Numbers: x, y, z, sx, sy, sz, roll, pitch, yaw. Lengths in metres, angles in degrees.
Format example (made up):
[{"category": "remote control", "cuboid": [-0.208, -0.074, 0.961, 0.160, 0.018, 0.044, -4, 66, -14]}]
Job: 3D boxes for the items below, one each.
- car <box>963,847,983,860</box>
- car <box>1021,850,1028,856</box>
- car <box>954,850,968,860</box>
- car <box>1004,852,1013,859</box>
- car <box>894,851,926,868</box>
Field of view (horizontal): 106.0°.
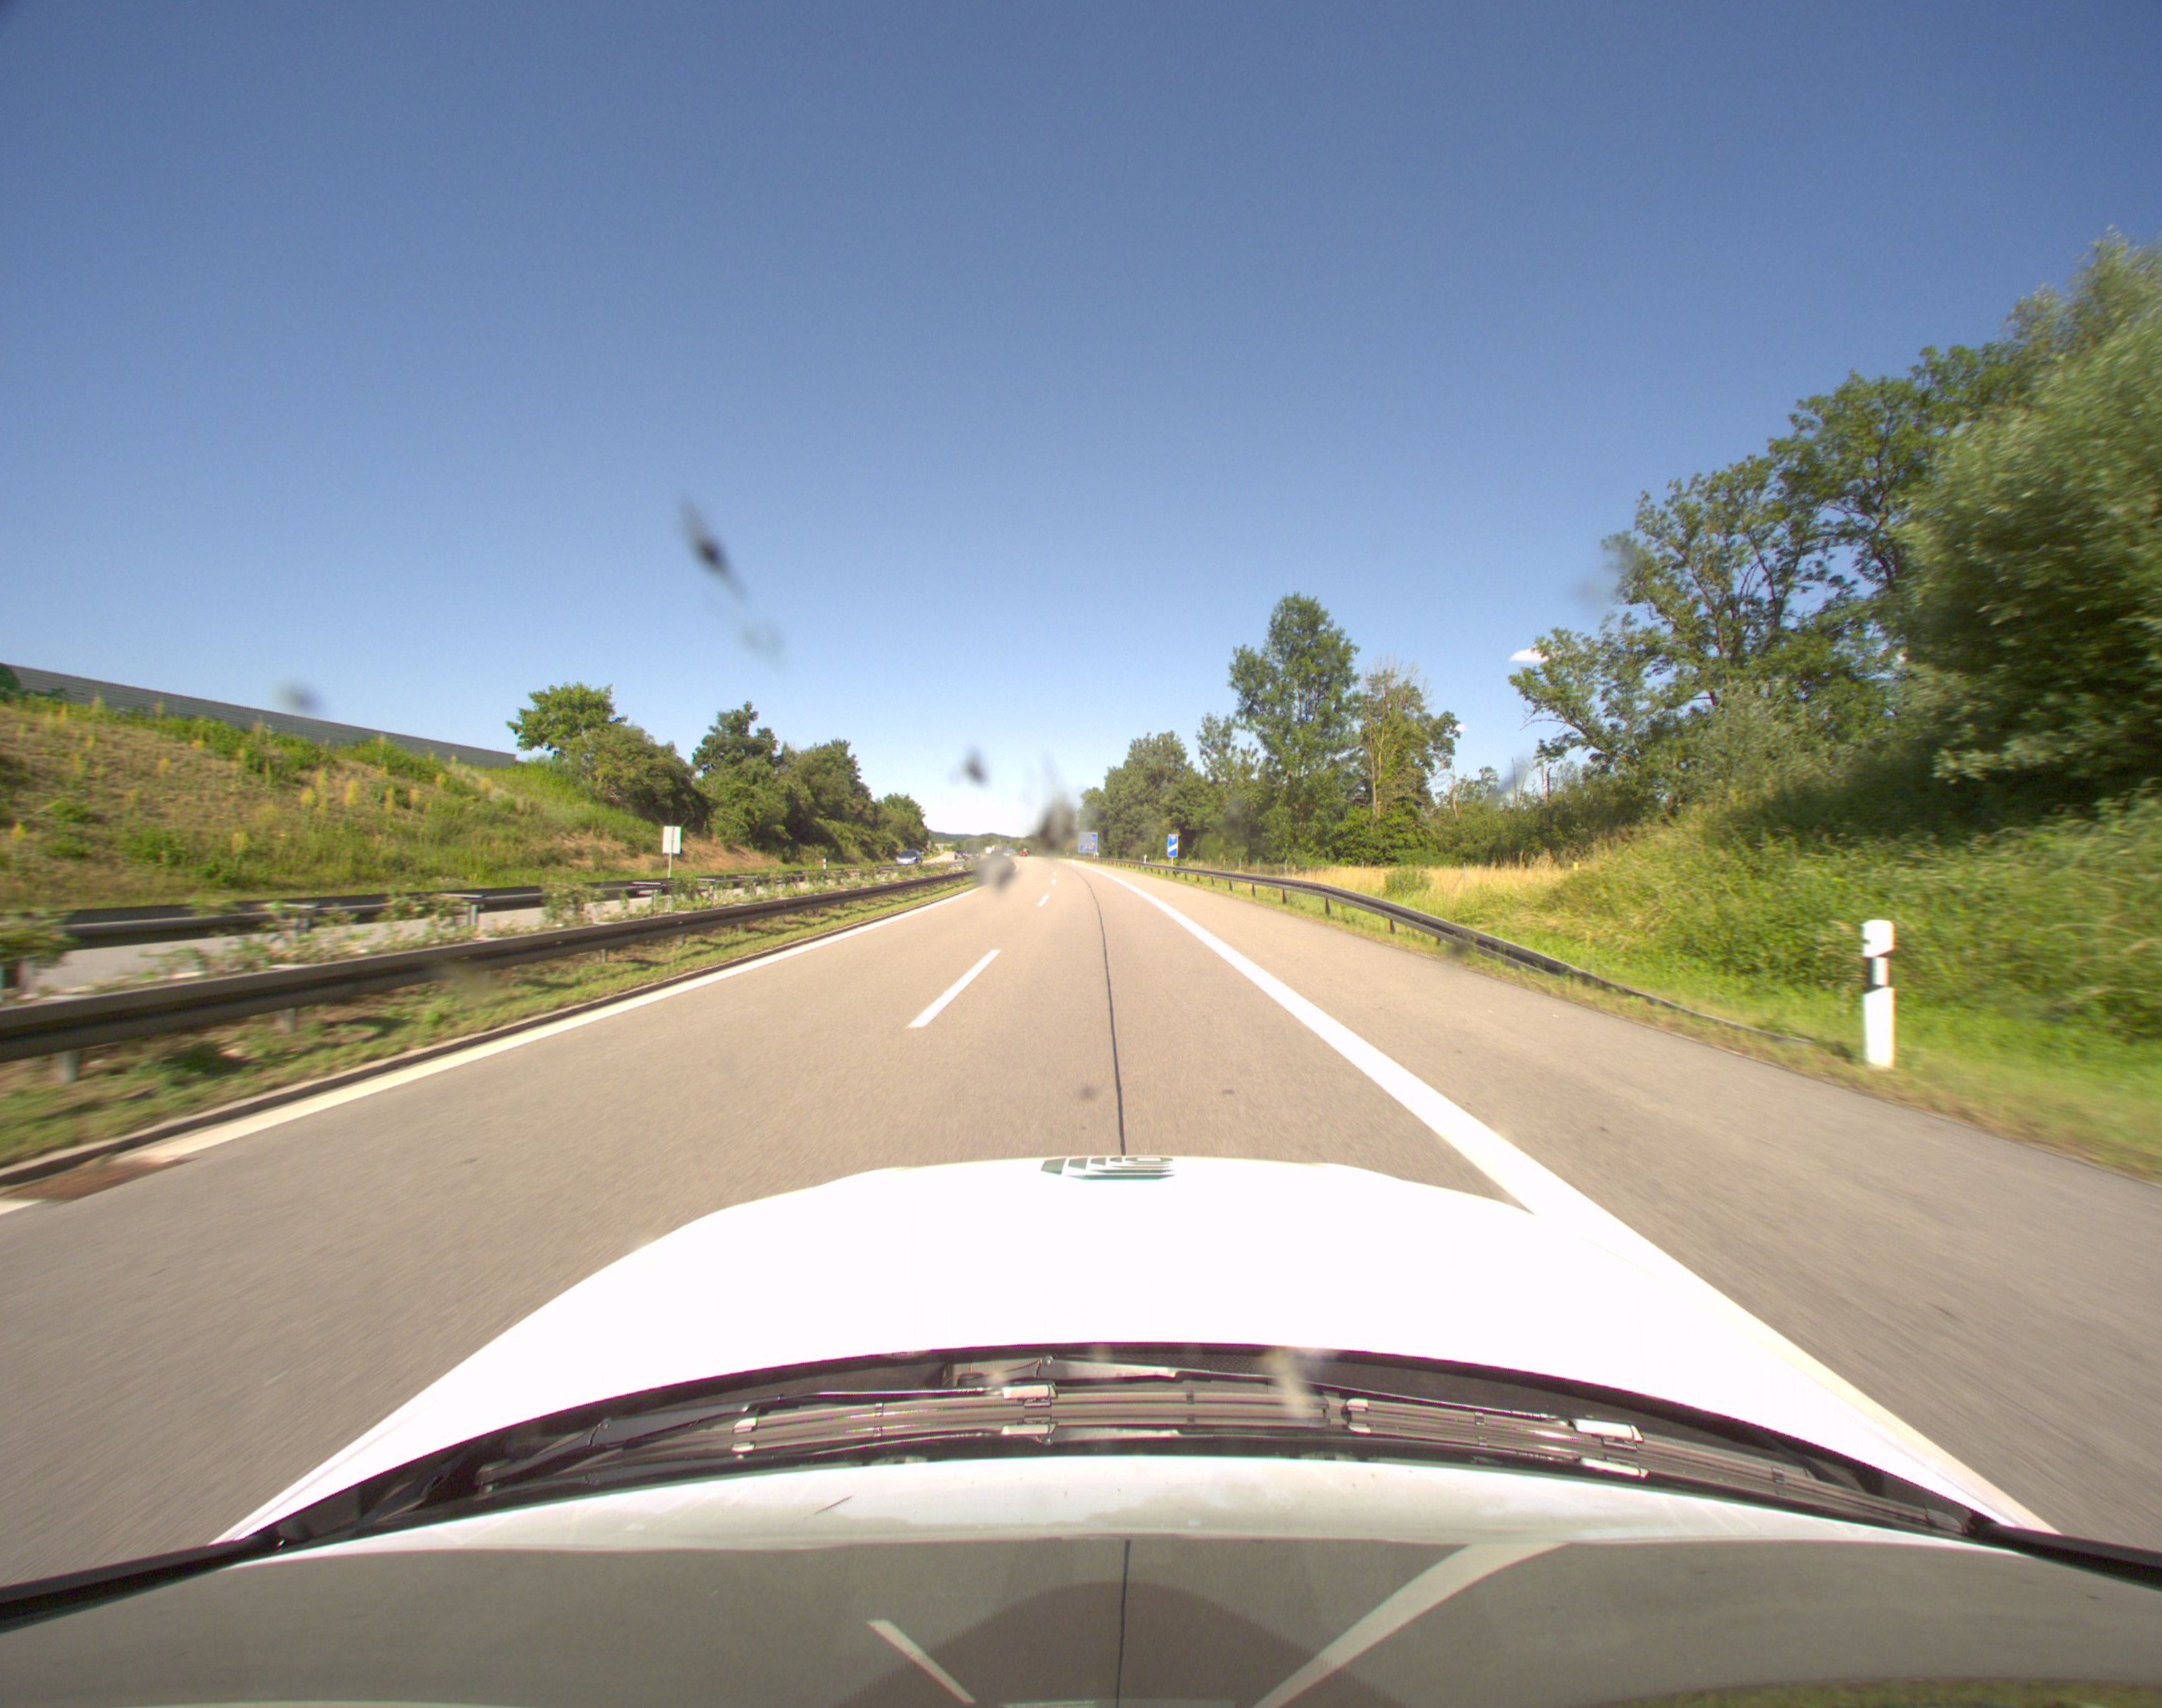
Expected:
[{"category": "car", "cuboid": [-14.214, -0.054, 106.994, 2.062, 1.679, 4.883, -2, 0, -2]}, {"category": "car", "cuboid": [-16.032, -0.288, 232.501, 1.781, 1.431, 3.993, 4, -1, -5]}, {"category": "car", "cuboid": [-19.870, 0.138, 134.956, 1.990, 1.651, 4.427, -1, 0, -4]}, {"category": "car", "cuboid": [-18.140, 0.276, 204.184, 2.061, 1.625, 3.986, 0, -2, -9]}, {"category": "car", "cuboid": [-14.795, 0.473, 70.784, 1.814, 1.480, 4.683, 0, 0, -1]}]
